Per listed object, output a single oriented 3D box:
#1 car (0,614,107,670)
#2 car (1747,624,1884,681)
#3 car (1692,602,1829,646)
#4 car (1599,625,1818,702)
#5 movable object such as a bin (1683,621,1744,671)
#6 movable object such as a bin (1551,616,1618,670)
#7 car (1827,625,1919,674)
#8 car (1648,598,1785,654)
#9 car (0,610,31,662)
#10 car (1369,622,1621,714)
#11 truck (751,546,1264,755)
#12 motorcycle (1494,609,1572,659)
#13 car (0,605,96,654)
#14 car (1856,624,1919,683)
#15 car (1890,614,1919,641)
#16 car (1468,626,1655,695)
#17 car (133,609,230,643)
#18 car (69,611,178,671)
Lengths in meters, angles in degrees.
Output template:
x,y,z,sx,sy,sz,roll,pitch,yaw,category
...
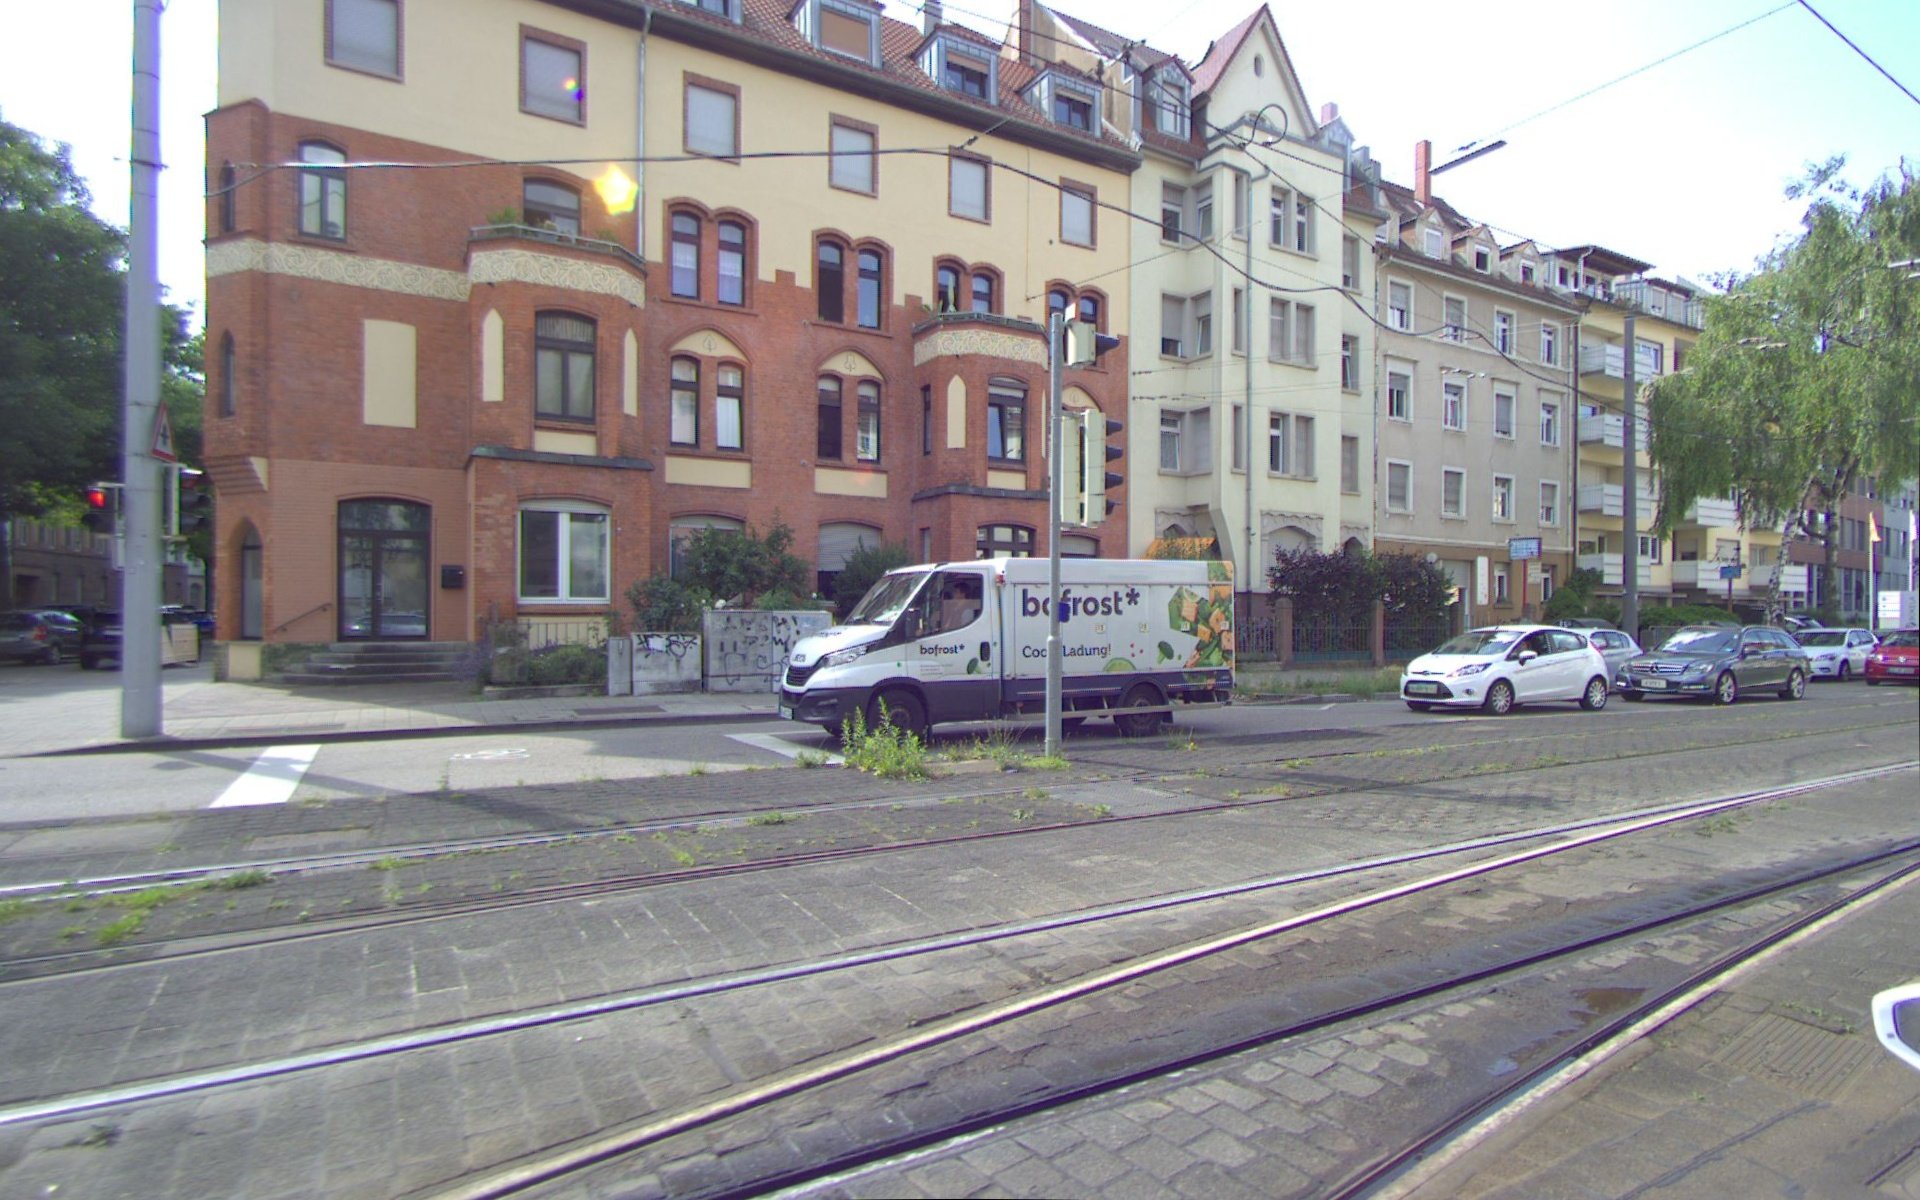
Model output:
x,y,z,sx,sy,sz,roll,pitch,yaw,category
-27.075,1.214,29.739,1.650,1.565,3.713,-1,-1,-22,car
24.227,1.443,28.423,4.175,1.497,1.637,1,-2,-30,car
32.972,0.954,41.471,1.949,1.624,3.969,1,1,-29,car
14.784,1.200,19.794,4.456,1.374,1.748,1,-3,-29,car
22.803,1.371,30.392,1.504,1.449,0.946,0,2,-31,movable object such as a bin
17.103,1.153,27.504,1.504,1.385,0.946,0,2,-31,movable object such as a bin
28.877,1.497,31.391,3.570,1.451,1.587,1,-1,-29,car
30.621,1.001,40.777,1.911,2.041,3.973,1,1,-26,car
-33.237,1.195,33.290,3.920,1.710,1.926,-1,-1,18,car
9.196,1.118,17.249,4.078,1.433,1.750,1,-3,-26,car
0.729,0.589,13.199,6.523,2.244,2.178,0,-1,-26,truck
14.769,0.854,25.871,2.272,1.259,0.894,1,0,-36,motorcycle
-36.216,1.139,39.151,1.973,1.848,3.747,-1,-1,45,car
24.480,1.321,25.462,3.648,1.405,1.572,1,-1,-30,car
58.304,1.664,59.816,1.978,1.617,3.965,1,-1,-32,car
13.094,1.250,21.850,3.945,1.374,1.748,1,-1,-29,car
-40.368,1.339,52.113,1.973,1.682,3.747,-1,-1,45,car
-23.288,1.108,28.109,1.537,1.565,3.705,2,-1,-27,car
